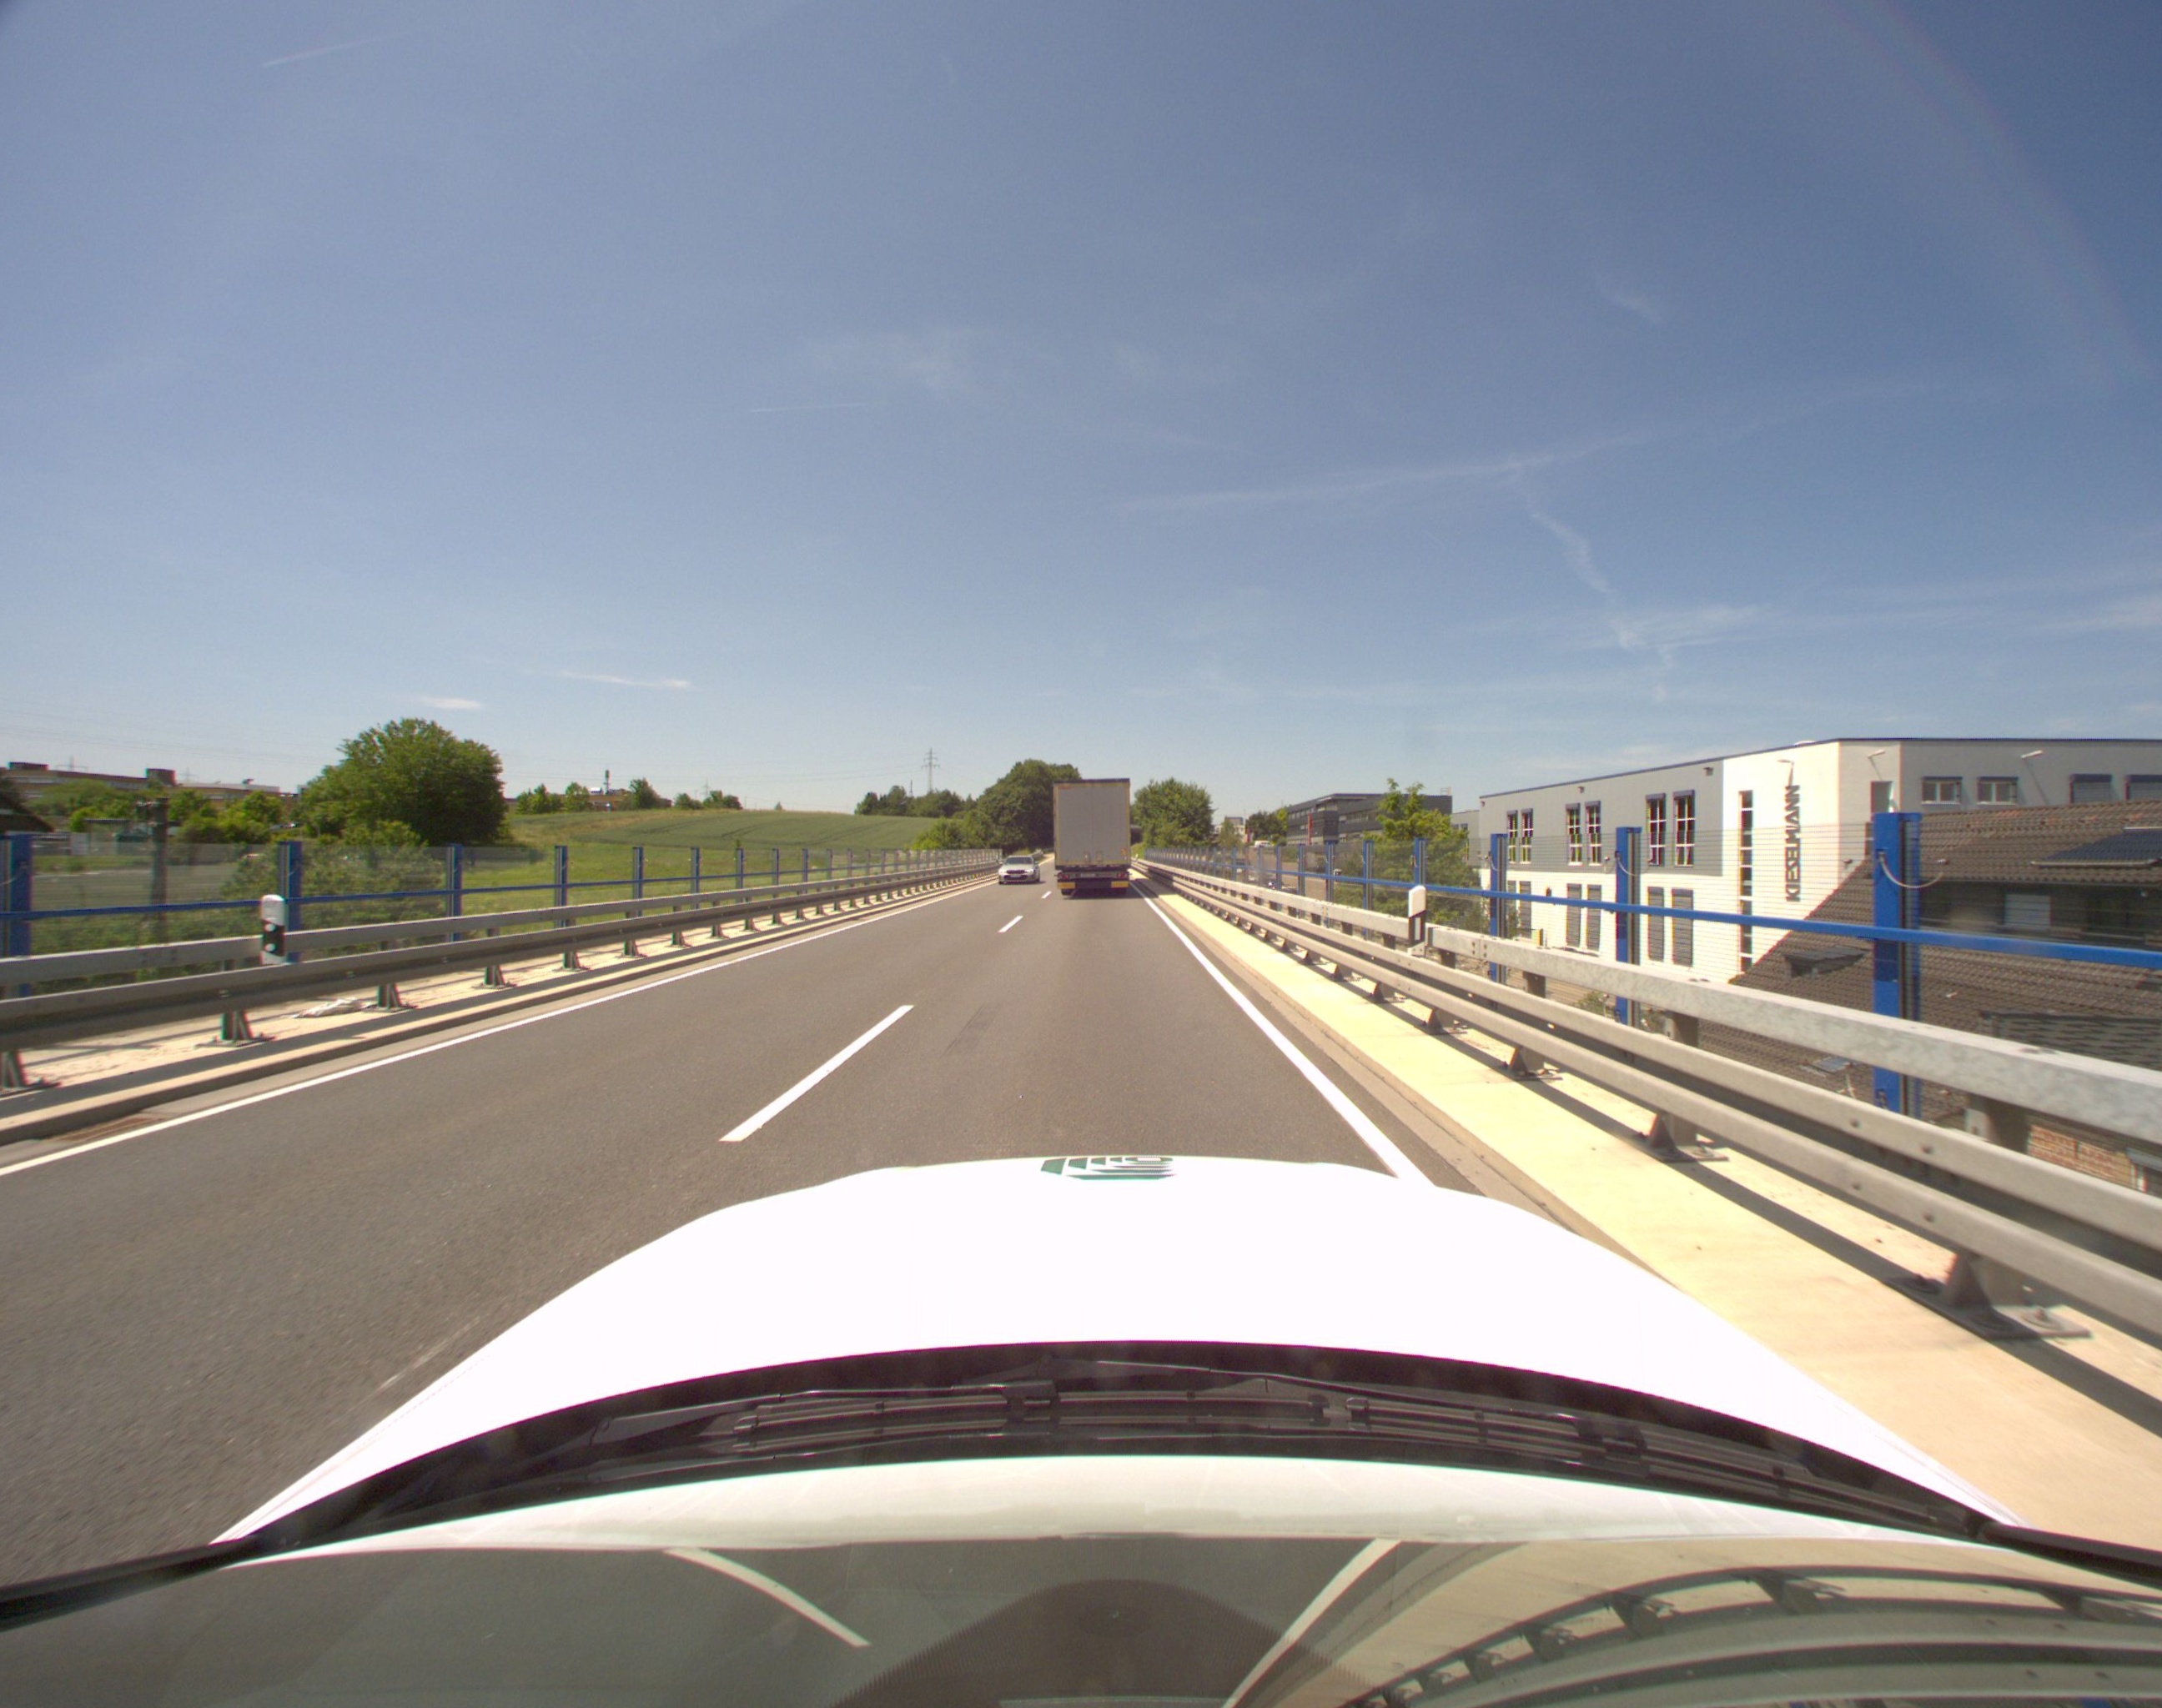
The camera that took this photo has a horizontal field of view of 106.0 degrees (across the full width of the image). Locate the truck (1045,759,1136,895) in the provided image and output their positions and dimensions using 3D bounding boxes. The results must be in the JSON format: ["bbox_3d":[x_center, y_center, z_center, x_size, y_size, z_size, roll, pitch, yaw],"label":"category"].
[{"bbox_3d":[0.344,-0.824,31.508,2.856,4.359,9.787,-2,-1,0],"label":"truck"}]

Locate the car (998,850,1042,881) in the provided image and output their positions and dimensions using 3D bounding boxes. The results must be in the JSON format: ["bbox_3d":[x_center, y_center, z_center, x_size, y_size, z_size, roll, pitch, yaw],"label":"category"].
[{"bbox_3d":[-3.055,0.558,41.668,1.775,1.435,4.835,-2,0,1],"label":"car"}]
